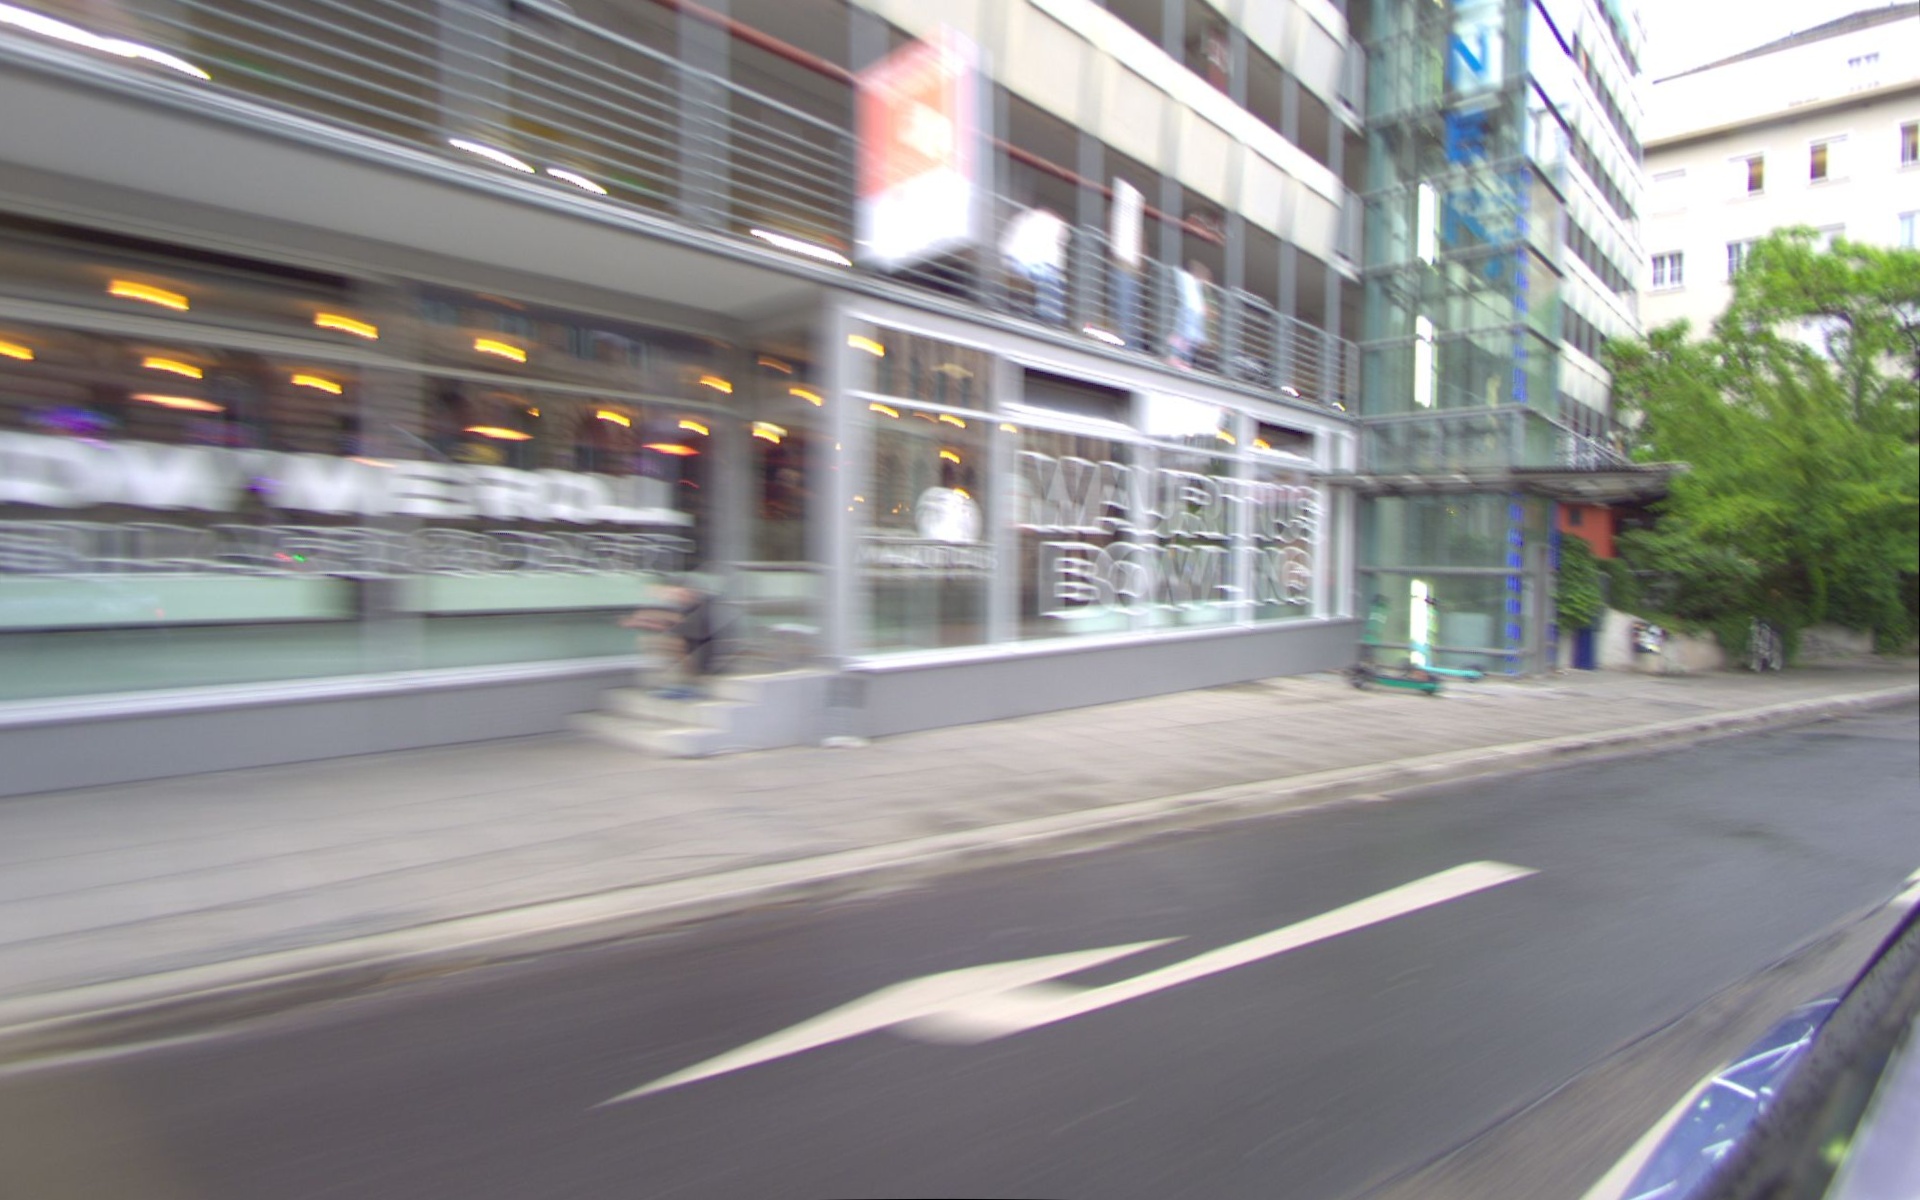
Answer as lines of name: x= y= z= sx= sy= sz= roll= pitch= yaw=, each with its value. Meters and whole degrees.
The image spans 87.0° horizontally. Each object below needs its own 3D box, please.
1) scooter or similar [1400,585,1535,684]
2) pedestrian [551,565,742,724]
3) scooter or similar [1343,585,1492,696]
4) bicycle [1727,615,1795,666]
scooter or similar: x=7.346 y=0.459 z=14.673 sx=1.629 sy=1.283 sz=0.734 roll=4 pitch=2 yaw=33
pedestrian: x=-2.441 y=0.306 z=7.933 sx=0.753 sy=1.137 sz=1.227 roll=1 pitch=1 yaw=43
scooter or similar: x=5.937 y=0.486 z=13.164 sx=1.629 sy=1.283 sz=0.734 roll=4 pitch=2 yaw=33
bicycle: x=15.164 y=0.755 z=19.153 sx=1.656 sy=0.896 sz=0.472 roll=0 pitch=2 yaw=-32
